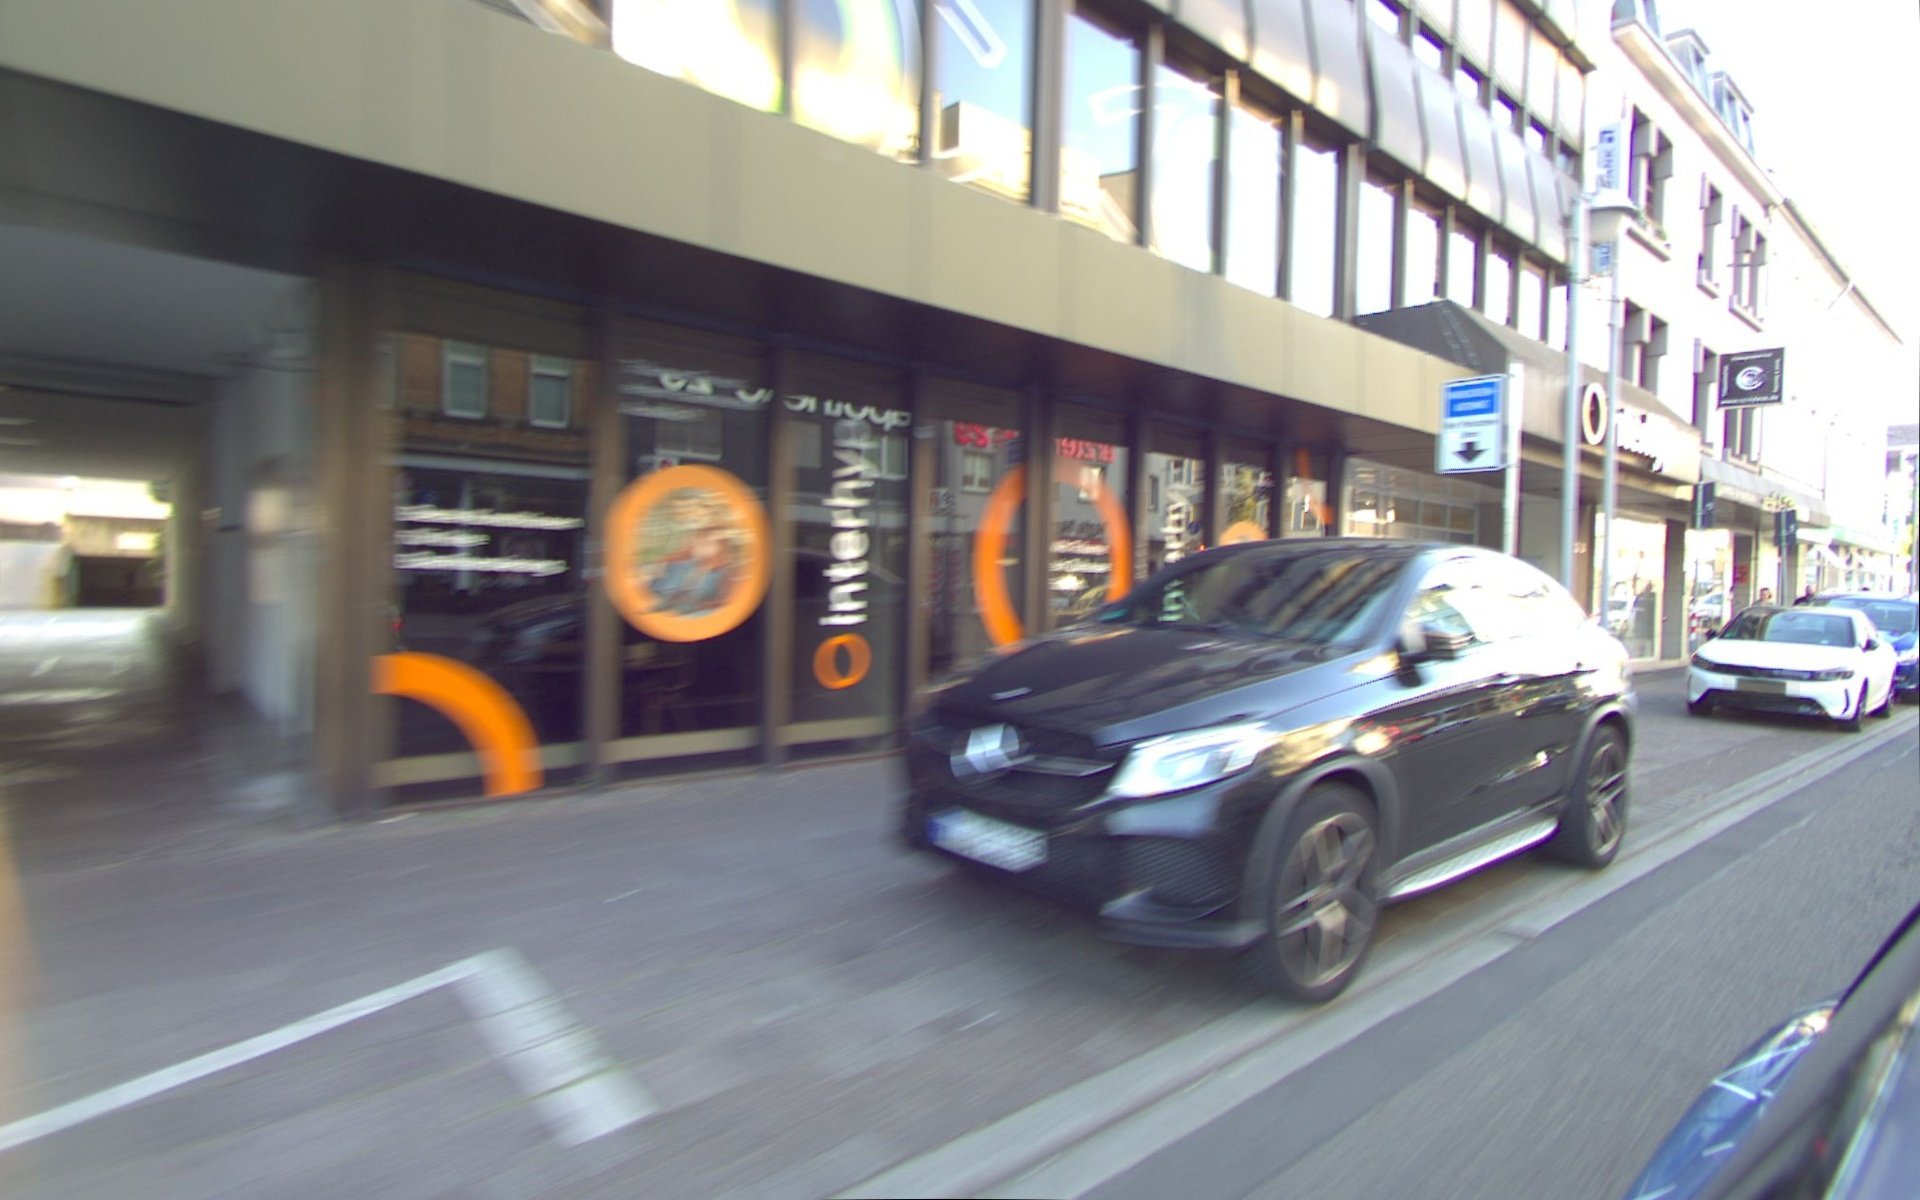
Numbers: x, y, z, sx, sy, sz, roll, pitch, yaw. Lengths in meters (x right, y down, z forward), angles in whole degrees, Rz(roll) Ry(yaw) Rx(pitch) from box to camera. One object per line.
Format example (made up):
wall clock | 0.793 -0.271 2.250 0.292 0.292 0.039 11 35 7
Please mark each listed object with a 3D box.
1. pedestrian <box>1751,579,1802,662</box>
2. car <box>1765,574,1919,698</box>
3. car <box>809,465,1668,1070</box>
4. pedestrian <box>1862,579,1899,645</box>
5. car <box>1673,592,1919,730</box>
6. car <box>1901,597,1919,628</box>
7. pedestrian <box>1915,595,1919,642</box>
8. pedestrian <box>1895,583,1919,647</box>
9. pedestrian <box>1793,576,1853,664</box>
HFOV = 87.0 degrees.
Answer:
pedestrian | 17.821 0.432 22.091 0.666 1.739 0.651 1 3 -39
car | 15.337 0.524 16.963 4.495 1.748 1.998 0 3 -40
car | 1.699 0.447 5.142 4.484 1.748 1.998 0 2 -40
pedestrian | 27.682 0.348 30.424 0.864 1.951 0.662 1 2 -42
car | 10.941 0.693 13.145 3.818 1.450 1.800 1 2 -40
car | 44.015 0.627 44.547 1.566 1.350 3.494 1 2 -32
pedestrian | 36.807 0.714 38.445 0.691 1.764 0.644 2 1 42
pedestrian | 28.161 0.441 29.816 0.836 1.851 0.738 1 2 -42
pedestrian | 18.782 0.418 22.028 0.911 1.828 0.768 1 2 -39
